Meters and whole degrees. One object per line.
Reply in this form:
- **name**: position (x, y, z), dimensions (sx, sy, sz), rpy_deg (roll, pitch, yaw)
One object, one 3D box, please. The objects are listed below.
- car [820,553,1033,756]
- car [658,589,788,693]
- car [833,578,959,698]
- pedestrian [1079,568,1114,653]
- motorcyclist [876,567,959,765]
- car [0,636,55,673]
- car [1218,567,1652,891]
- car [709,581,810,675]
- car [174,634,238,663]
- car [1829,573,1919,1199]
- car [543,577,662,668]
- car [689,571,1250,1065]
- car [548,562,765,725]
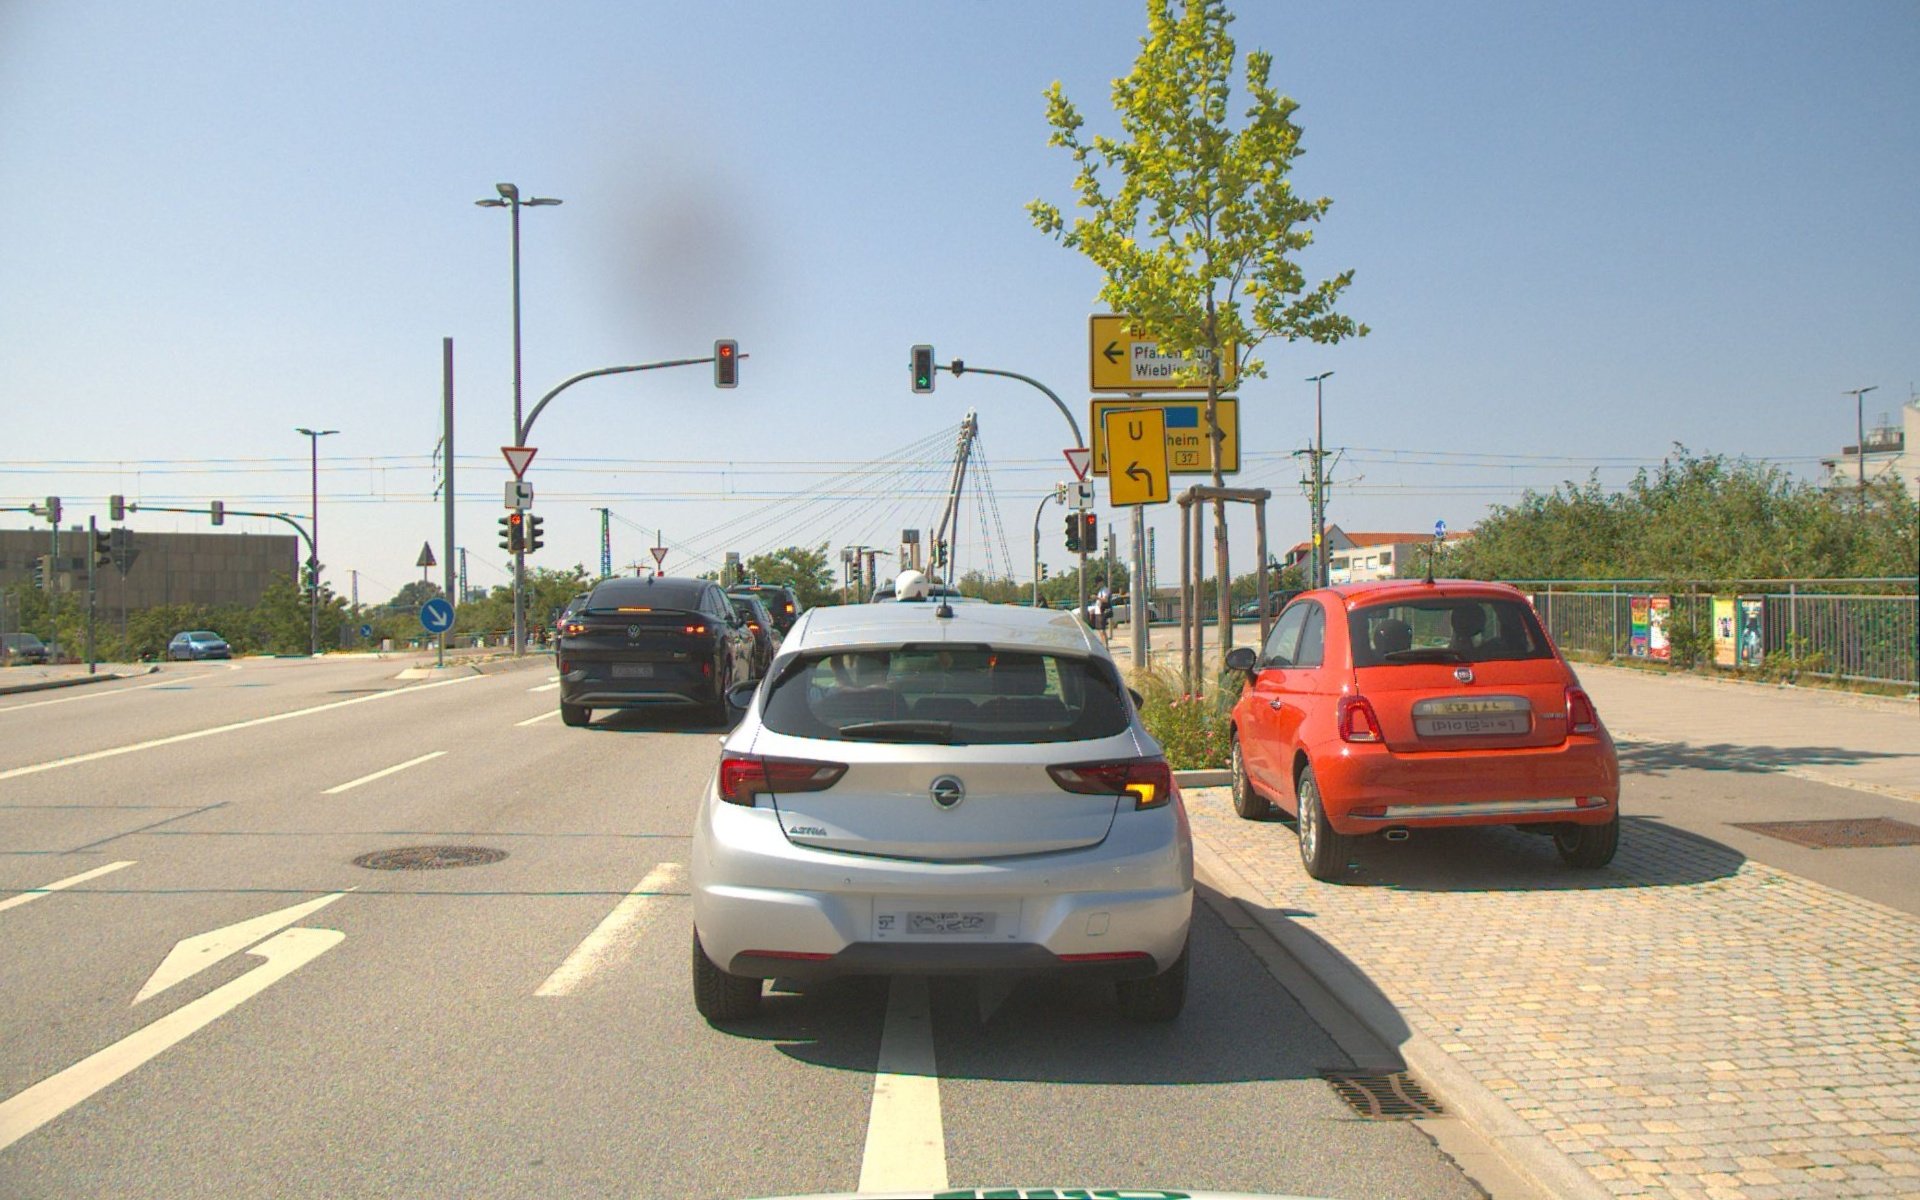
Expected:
- **car**: position (-0.343, 0.476, 17.549), dimensions (1.953, 1.852, 4.401), rpy_deg (1, 1, -1)
- **car**: position (-3.590, 0.595, 25.562), dimensions (1.543, 1.459, 3.785), rpy_deg (1, 0, -2)
- **car**: position (-0.886, 0.486, 24.398), dimensions (1.689, 1.591, 4.000), rpy_deg (1, 1, -1)
- **pedestrian**: position (3.090, 0.238, 37.493), dimensions (0.634, 1.868, 0.797), rpy_deg (-2, 0, -3)
- **motorcyclist**: position (-0.310, 0.475, 12.238), dimensions (0.570, 1.413, 0.706), rpy_deg (1, -1, -1)
- **car**: position (-41.264, 2.383, 73.096), dimensions (1.662, 1.502, 3.358), rpy_deg (-1, 1, -39)
- **car**: position (2.587, 0.618, 9.776), dimensions (1.577, 1.522, 3.352), rpy_deg (-2, 0, 0)
- **car**: position (-3.753, 0.507, 31.497), dimensions (1.616, 1.643, 3.818), rpy_deg (1, 0, -3)
- **car**: position (-36.264, 2.332, 79.514), dimensions (1.806, 1.354, 3.941), rpy_deg (1, -2, -40)
- **car**: position (2.922, 0.629, 1.906), dimensions (1.627, 1.451, 3.999), rpy_deg (-2, 0, -1)
- **car**: position (-6.596, 0.403, 30.863), dimensions (1.565, 1.574, 3.760), rpy_deg (1, 0, -3)
- **car**: position (-0.072, 0.683, 7.091), dimensions (1.708, 1.503, 3.997), rpy_deg (1, 0, -3)
- **car**: position (-3.407, 0.461, 19.356), dimensions (1.765, 1.670, 4.365), rpy_deg (1, 0, -1)
